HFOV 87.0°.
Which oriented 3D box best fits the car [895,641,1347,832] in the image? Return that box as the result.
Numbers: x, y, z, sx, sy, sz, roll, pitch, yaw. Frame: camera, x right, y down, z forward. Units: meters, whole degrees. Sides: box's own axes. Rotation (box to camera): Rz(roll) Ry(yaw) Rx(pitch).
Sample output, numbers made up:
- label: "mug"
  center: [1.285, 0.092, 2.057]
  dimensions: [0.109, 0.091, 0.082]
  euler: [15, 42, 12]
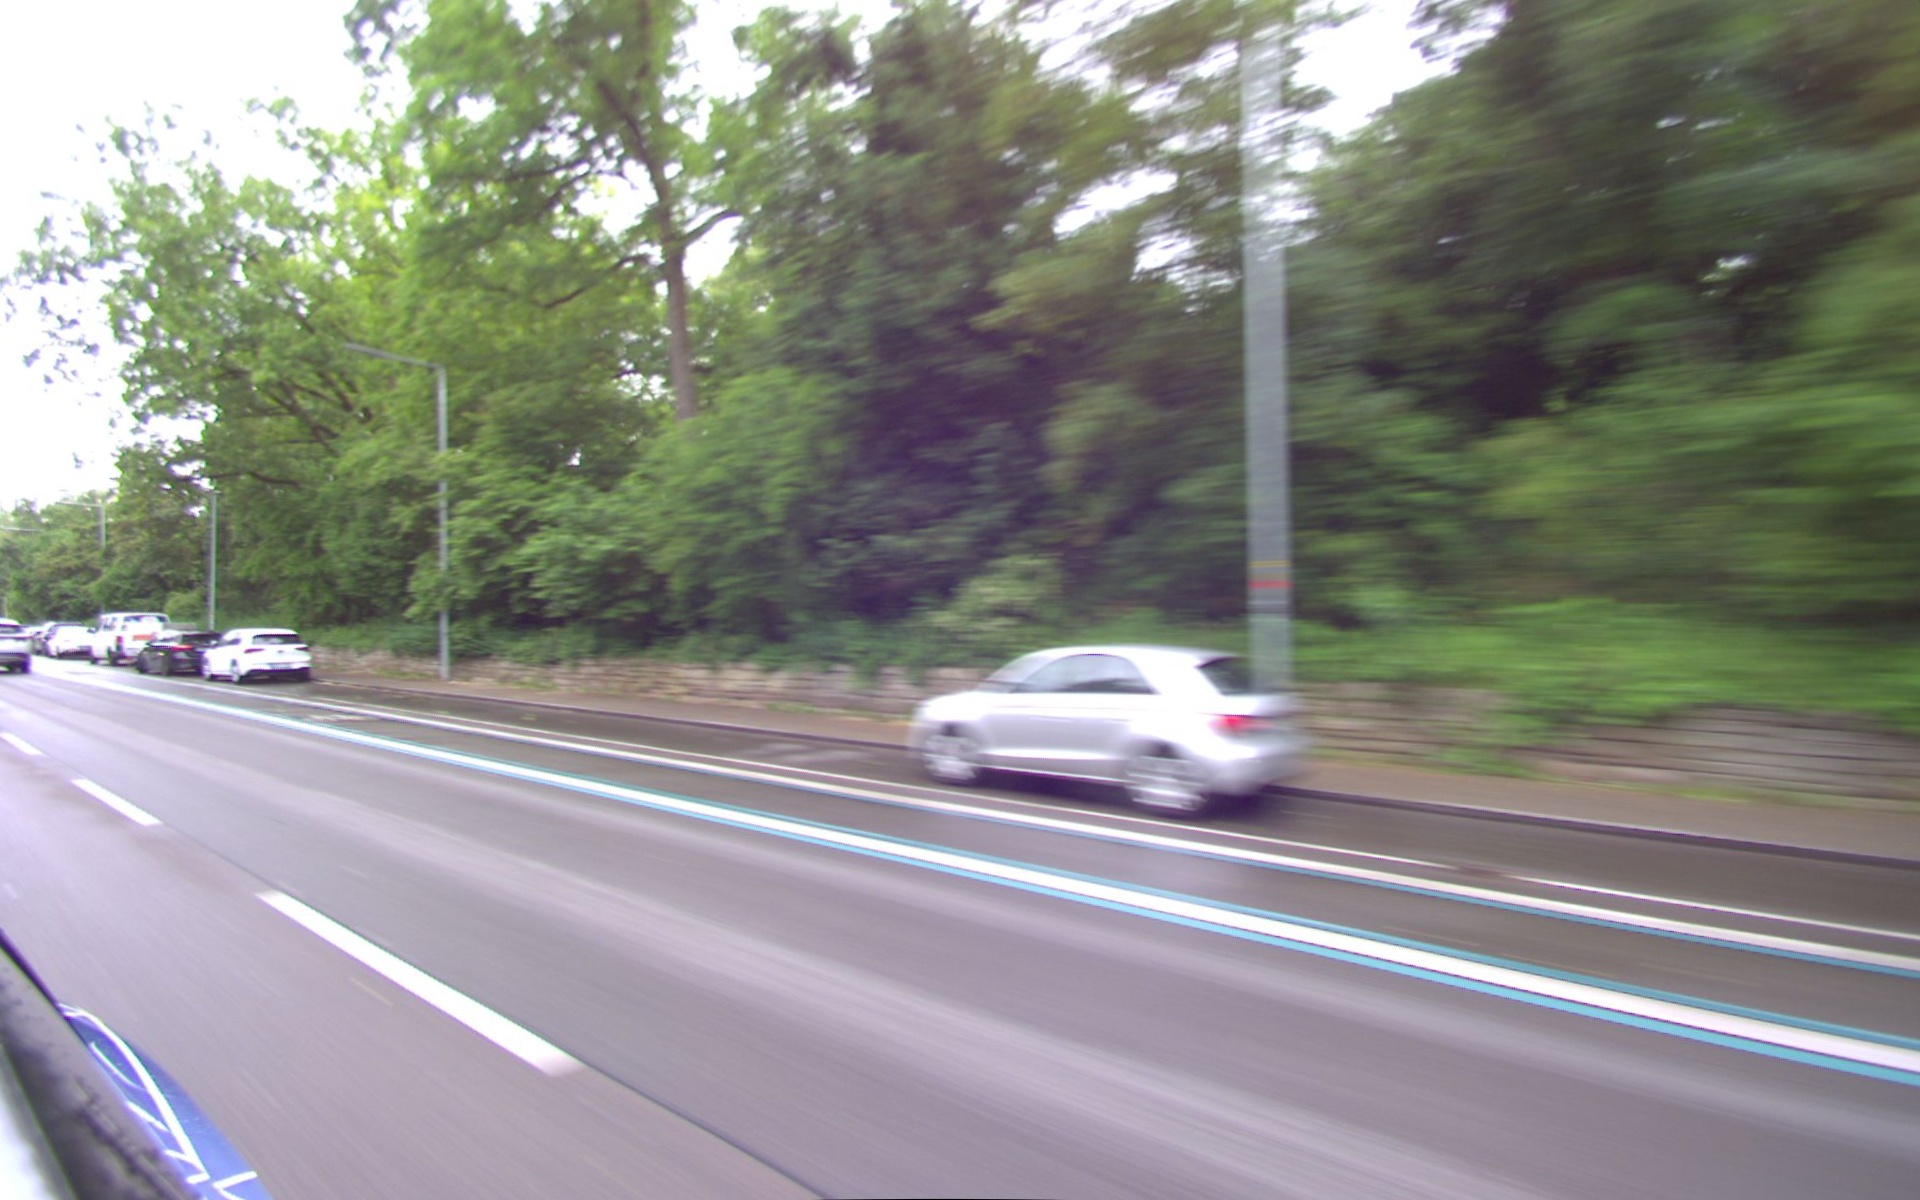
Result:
- label: "car"
  center: [1.386, 1.123, 9.731]
  dimensions: [4.026, 1.416, 1.672]
  euler: [-2, -2, 42]

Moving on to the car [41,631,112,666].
- label: "car"
  center: [-40.404, 2.182, 46.253]
  dimensions: [4.751, 1.509, 1.787]
  euler: [-1, -2, 41]

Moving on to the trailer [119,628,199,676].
- label: "trailer"
  center: [-28.620, 1.828, 36.206]
  dimensions: [1.329, 1.670, 2.271]
  euler: [0, -2, -11]

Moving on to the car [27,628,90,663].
- label: "car"
  center: [-45.195, 2.259, 50.693]
  dimensions: [4.670, 1.673, 1.718]
  euler: [-2, -3, 40]

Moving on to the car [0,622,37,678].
- label: "car"
  center: [-30.332, 1.530, 31.397]
  dimensions: [4.442, 1.651, 1.933]
  euler: [-2, -4, 41]

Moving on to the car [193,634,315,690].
- label: "car"
  center: [-19.883, 1.699, 28.442]
  dimensions: [4.353, 1.446, 1.736]
  euler: [-2, -3, 40]

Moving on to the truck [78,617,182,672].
- label: "truck"
  center: [-32.487, 1.698, 39.570]
  dimensions: [5.152, 2.029, 2.073]
  euler: [-2, -2, 38]

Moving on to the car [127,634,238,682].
- label: "car"
  center: [-24.996, 1.815, 32.486]
  dimensions: [4.439, 1.409, 1.803]
  euler: [-1, -2, 38]
